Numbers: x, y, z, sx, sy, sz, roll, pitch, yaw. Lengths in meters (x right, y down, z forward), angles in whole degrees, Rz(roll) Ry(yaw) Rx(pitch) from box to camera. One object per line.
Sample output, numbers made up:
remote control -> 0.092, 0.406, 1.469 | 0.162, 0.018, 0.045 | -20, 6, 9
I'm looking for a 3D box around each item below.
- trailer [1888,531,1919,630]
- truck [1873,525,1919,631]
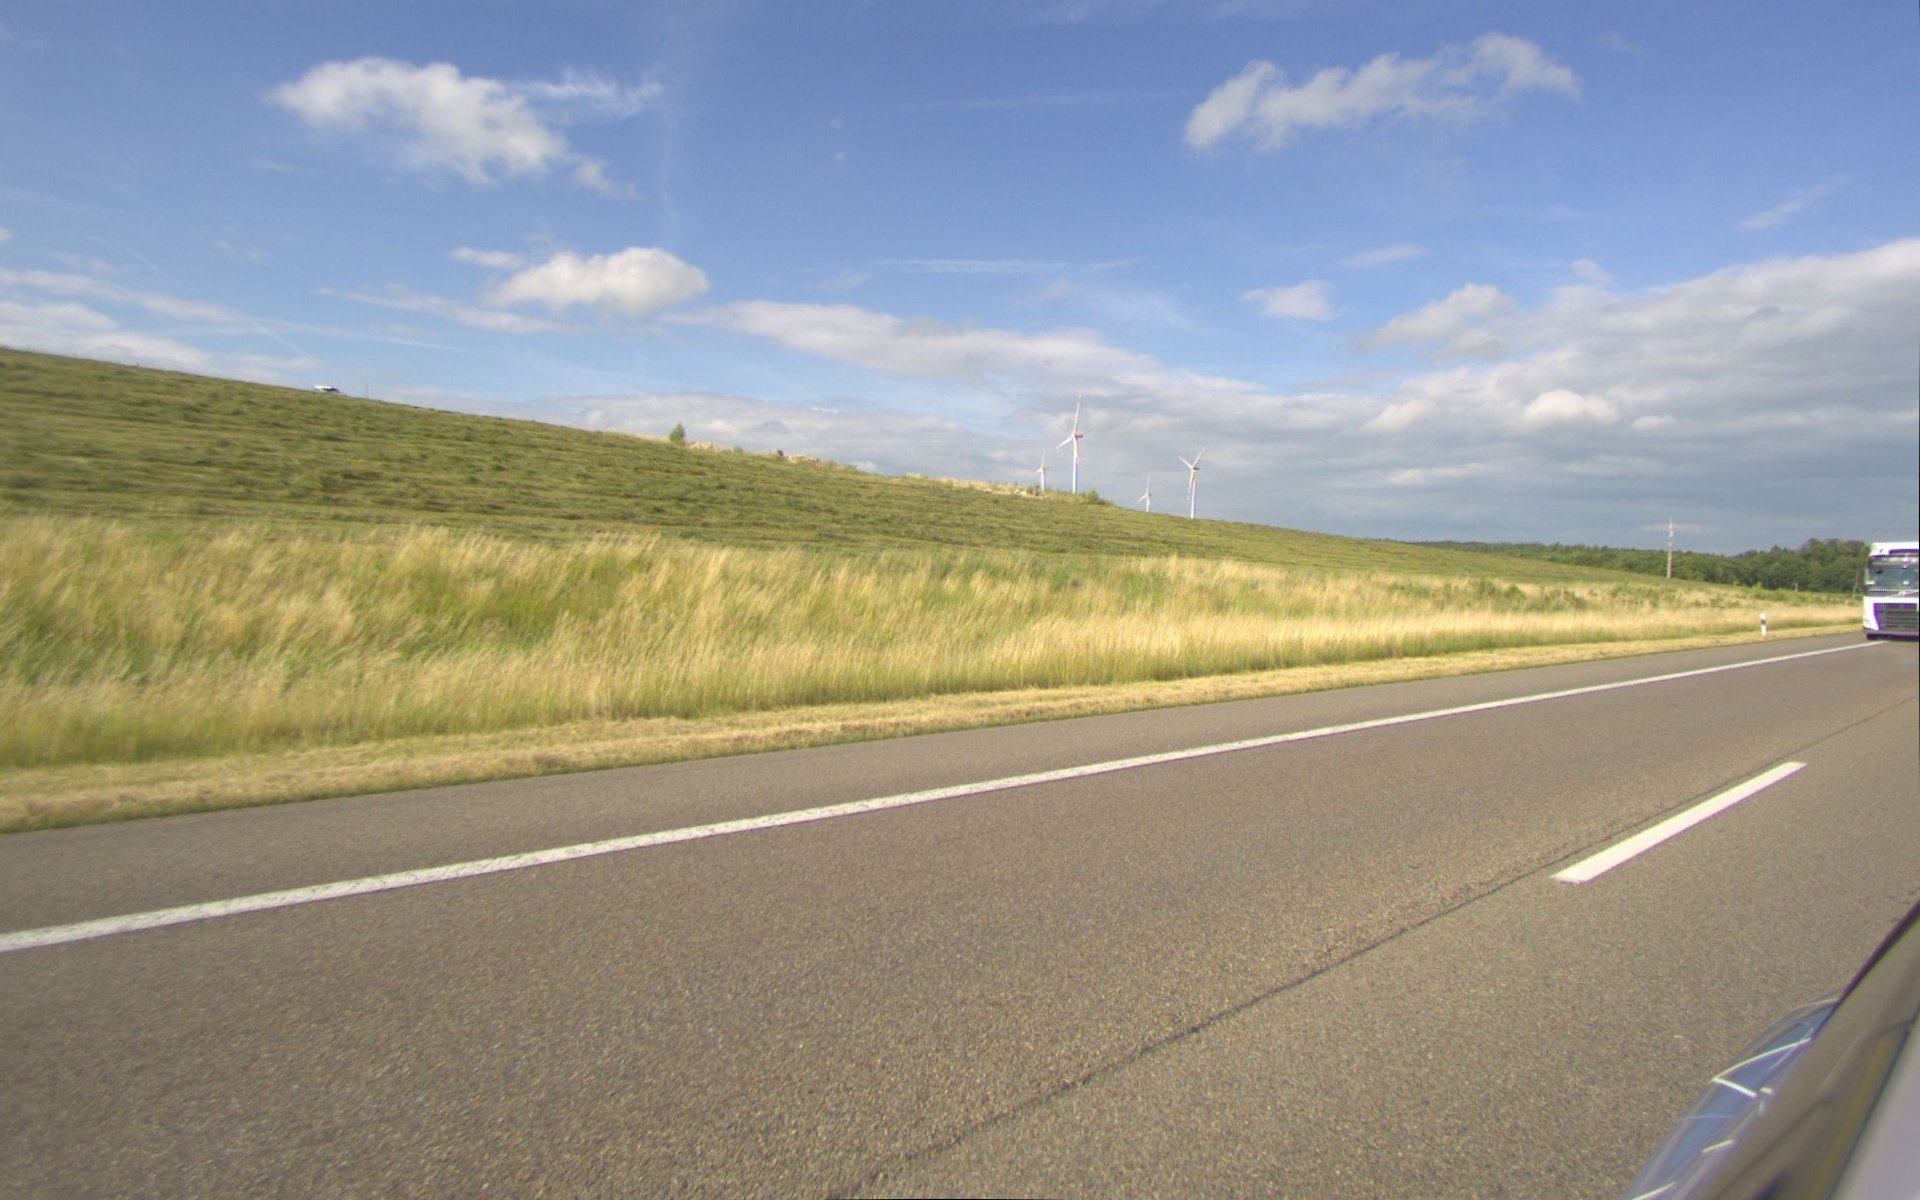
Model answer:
trailer -> 44.957, -0.754, 45.945 | 13.457, 4.092, 2.621 | 1, 0, -41
truck -> 39.241, -0.819, 41.005 | 6.012, 4.092, 2.605 | 1, 0, -41
